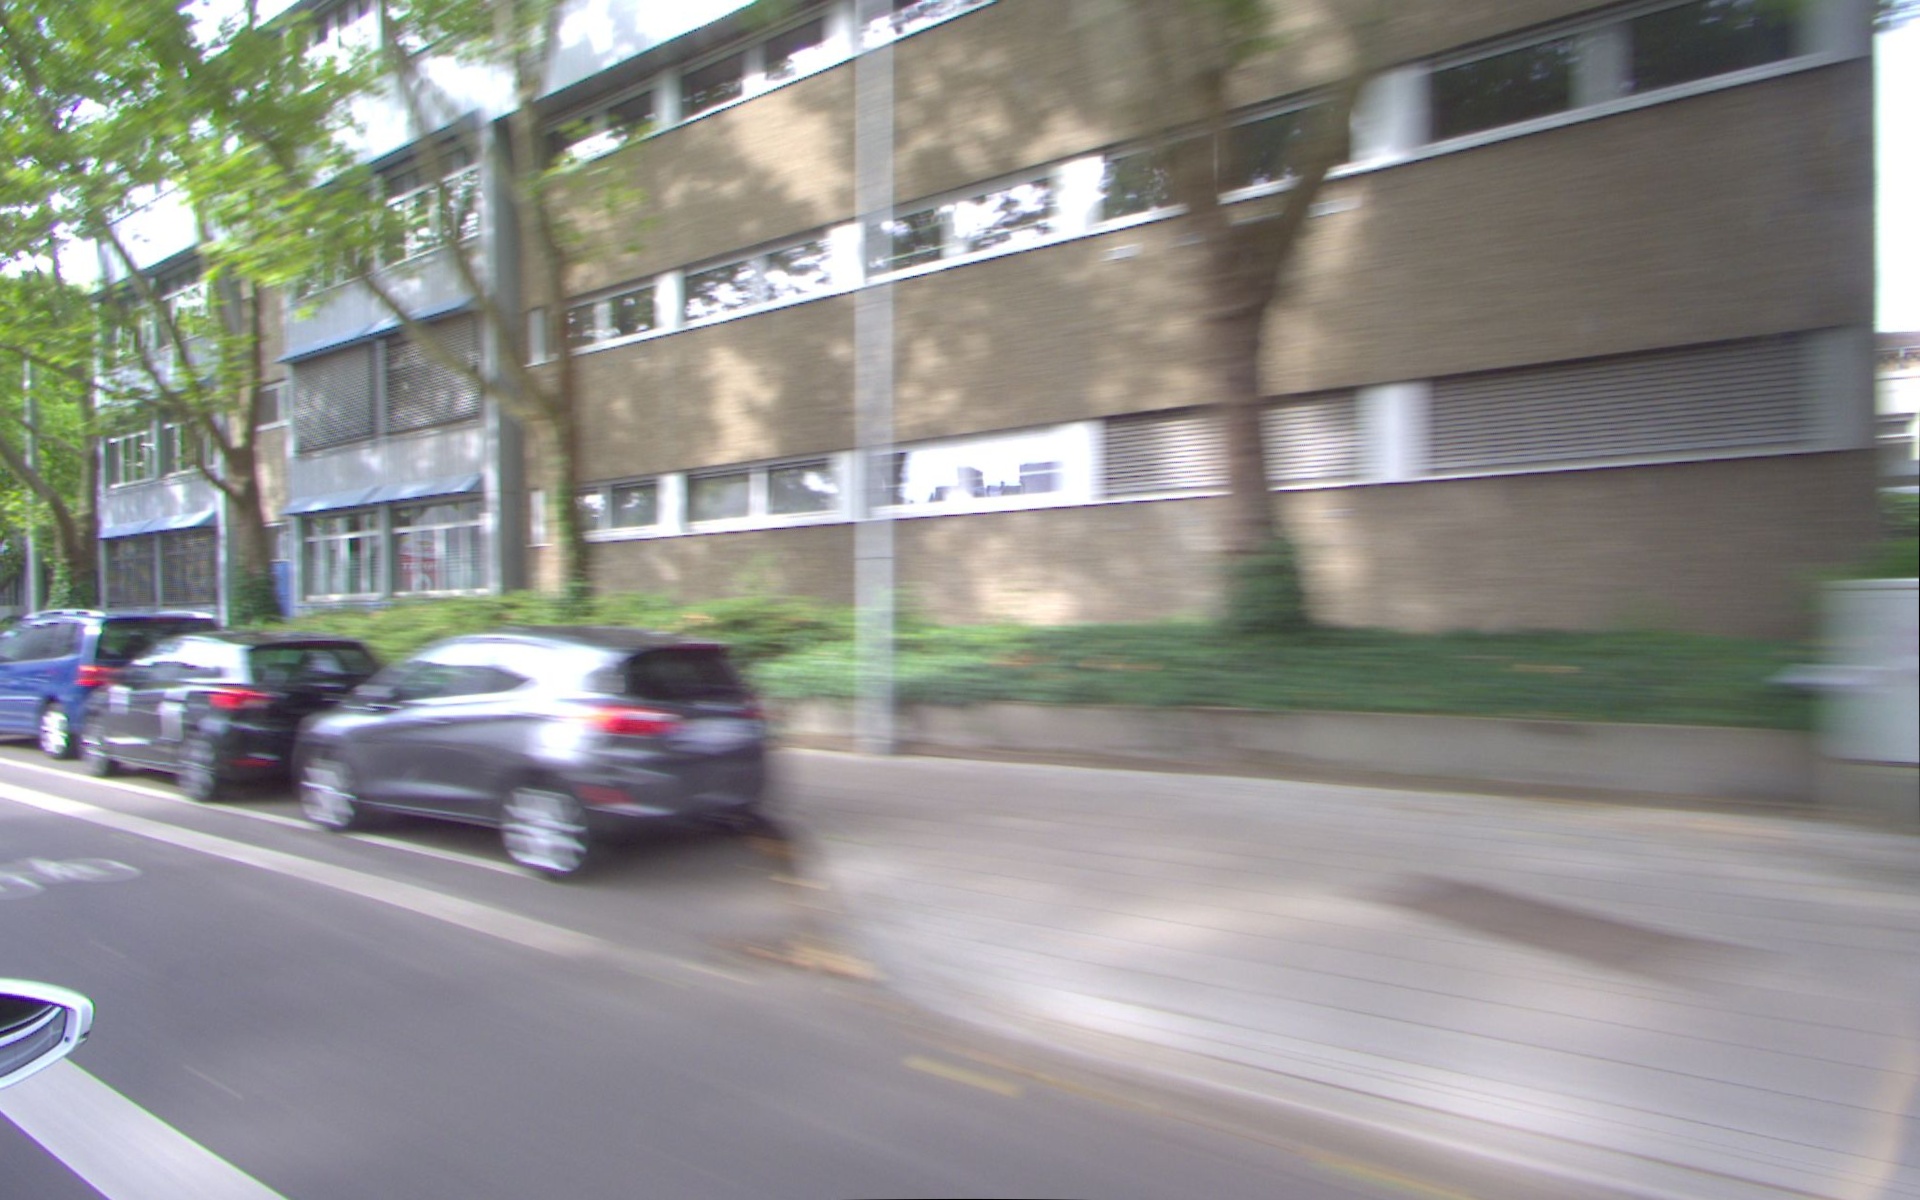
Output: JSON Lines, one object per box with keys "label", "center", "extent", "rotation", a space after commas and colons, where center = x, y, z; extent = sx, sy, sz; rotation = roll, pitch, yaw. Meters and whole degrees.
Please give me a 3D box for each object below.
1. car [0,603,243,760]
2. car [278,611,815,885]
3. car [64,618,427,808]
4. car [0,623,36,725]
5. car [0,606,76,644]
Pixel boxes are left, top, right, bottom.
{"label": "car", "center": [-10.990, 0.881, 12.561], "extent": [4.354, 1.672, 1.655], "rotation": [0, 0, 31]}
{"label": "car", "center": [-3.027, 0.818, 7.130], "extent": [3.810, 1.441, 1.654], "rotation": [0, 0, 32]}
{"label": "car", "center": [-7.031, 0.931, 9.750], "extent": [3.892, 1.441, 1.653], "rotation": [0, 0, 34]}
{"label": "car", "center": [-15.511, 1.051, 14.777], "extent": [4.396, 1.412, 1.673], "rotation": [-1, -1, 32]}
{"label": "car", "center": [-38.317, 1.029, 41.536], "extent": [3.861, 1.477, 1.469], "rotation": [1, -1, 33]}
